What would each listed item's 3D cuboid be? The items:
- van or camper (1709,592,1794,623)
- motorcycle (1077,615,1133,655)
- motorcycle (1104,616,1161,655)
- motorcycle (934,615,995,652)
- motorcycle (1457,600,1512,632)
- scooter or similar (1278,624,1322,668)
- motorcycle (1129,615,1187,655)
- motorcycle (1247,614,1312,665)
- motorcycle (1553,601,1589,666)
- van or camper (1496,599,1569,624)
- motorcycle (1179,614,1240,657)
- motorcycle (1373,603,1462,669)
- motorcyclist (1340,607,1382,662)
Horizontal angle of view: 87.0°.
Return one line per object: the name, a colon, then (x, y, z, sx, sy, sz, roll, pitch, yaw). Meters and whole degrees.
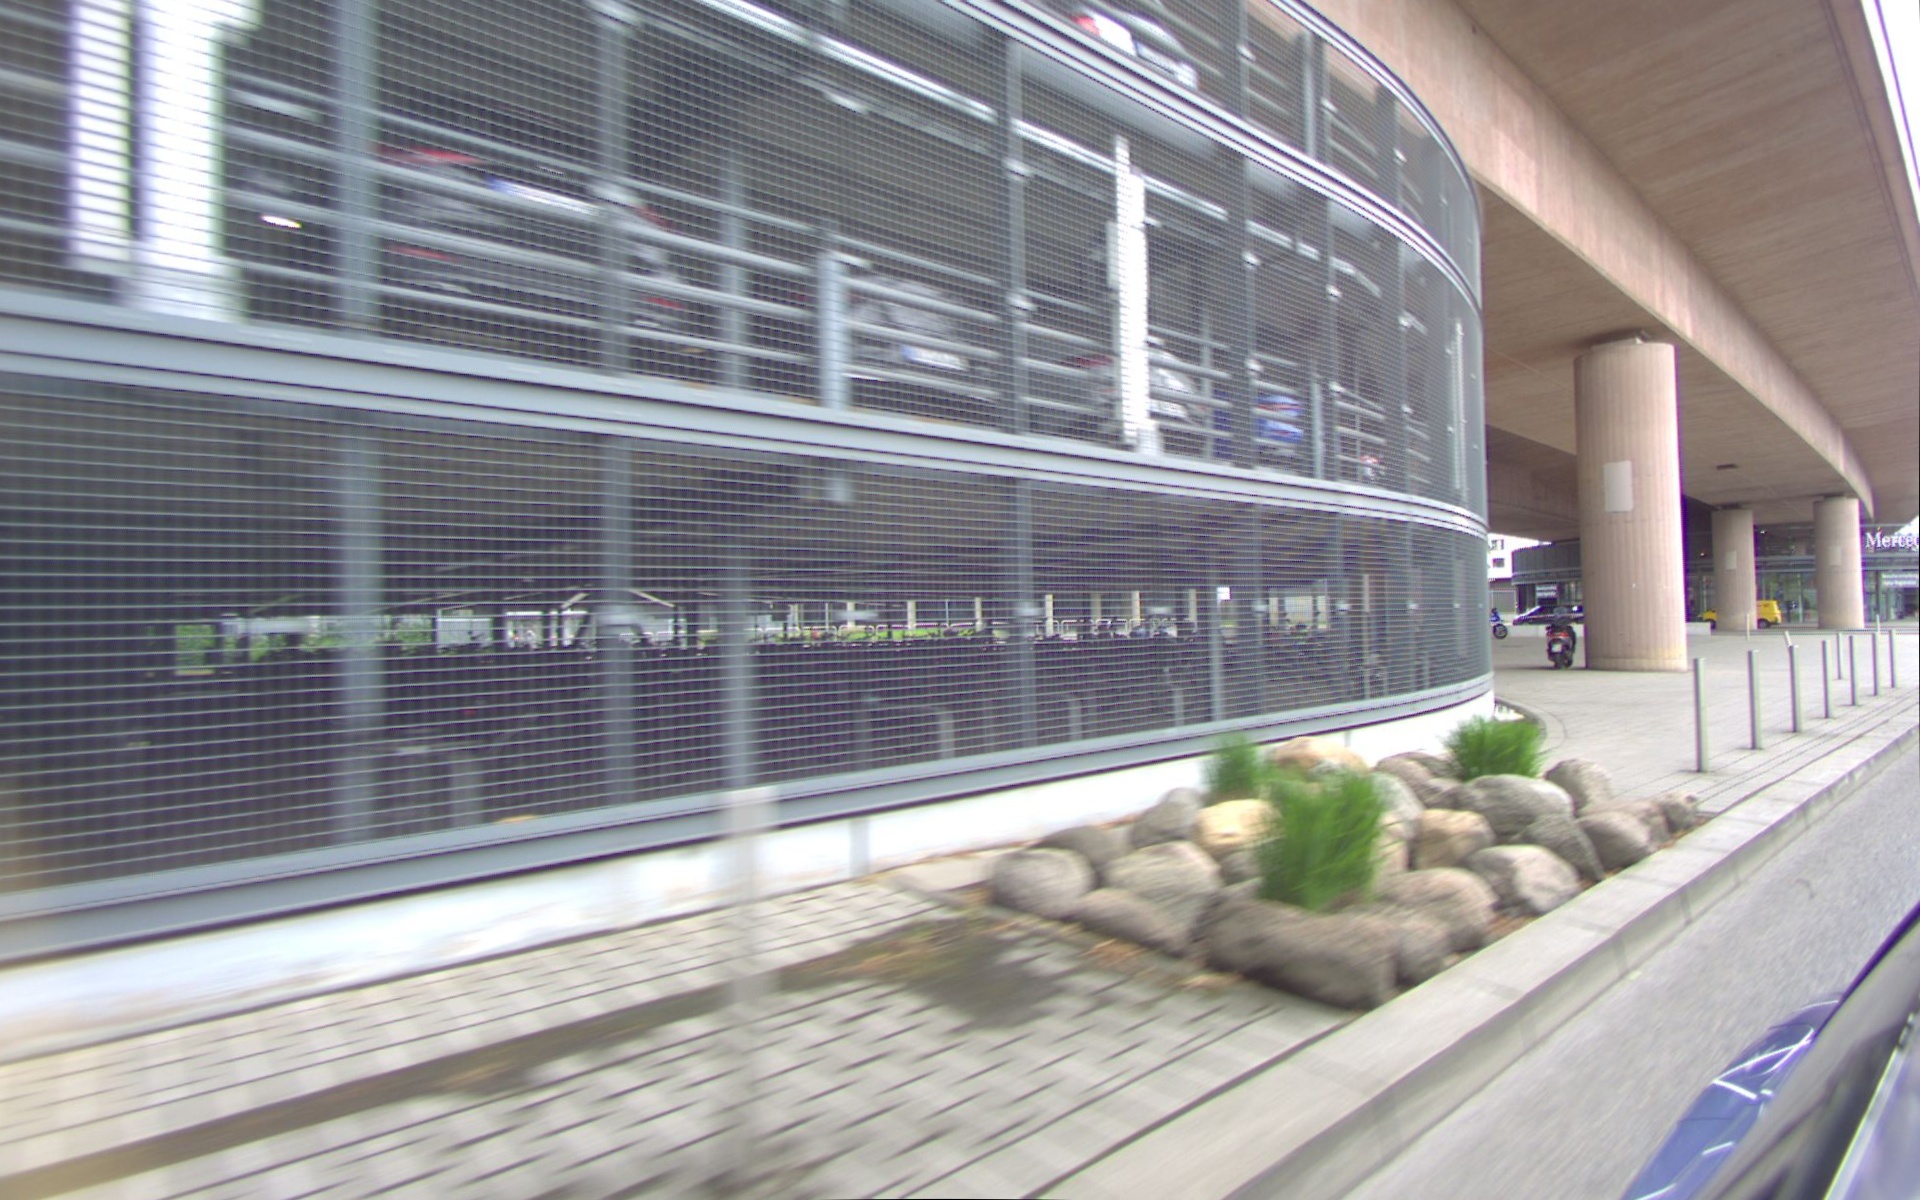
van or camper: (55.749, 0.512, 71.301, 4.490, 2.024, 2.325, -2, 1, 44)
motorcycle: (4.875, 1.156, 33.963, 2.041, 1.302, 0.673, 1, -2, -40)
motorcycle: (5.635, 1.155, 32.907, 2.041, 1.236, 0.673, 1, -2, -40)
motorcycle: (0.190, 1.194, 36.489, 2.321, 1.292, 0.673, 1, -2, -40)
motorcycle: (21.050, 0.653, 40.640, 1.923, 1.281, 0.543, -1, -2, 28)
scooter or similar: (9.062, 1.218, 26.982, 1.226, 1.148, 0.400, 1, -2, -30)
motorcycle: (6.236, 1.095, 31.862, 2.041, 1.236, 0.673, 1, -2, -40)
motorcycle: (8.869, 1.078, 28.055, 2.091, 1.319, 0.607, 0, -2, -38)
motorcycle: (14.546, 0.786, 24.079, 0.639, 1.474, 1.741, -1, -2, 33)
van or camper: (44.588, 0.909, 78.923, 4.859, 1.917, 2.131, -1, -2, 30)
motorcycle: (7.437, 1.052, 30.135, 2.041, 1.236, 0.673, 1, -2, -40)
motorcycle: (10.392, 0.799, 22.953, 2.125, 1.438, 0.632, 0, -1, -27)
motorcyclist: (10.697, 0.912, 26.992, 0.761, 1.438, 0.856, -2, -3, 43)
